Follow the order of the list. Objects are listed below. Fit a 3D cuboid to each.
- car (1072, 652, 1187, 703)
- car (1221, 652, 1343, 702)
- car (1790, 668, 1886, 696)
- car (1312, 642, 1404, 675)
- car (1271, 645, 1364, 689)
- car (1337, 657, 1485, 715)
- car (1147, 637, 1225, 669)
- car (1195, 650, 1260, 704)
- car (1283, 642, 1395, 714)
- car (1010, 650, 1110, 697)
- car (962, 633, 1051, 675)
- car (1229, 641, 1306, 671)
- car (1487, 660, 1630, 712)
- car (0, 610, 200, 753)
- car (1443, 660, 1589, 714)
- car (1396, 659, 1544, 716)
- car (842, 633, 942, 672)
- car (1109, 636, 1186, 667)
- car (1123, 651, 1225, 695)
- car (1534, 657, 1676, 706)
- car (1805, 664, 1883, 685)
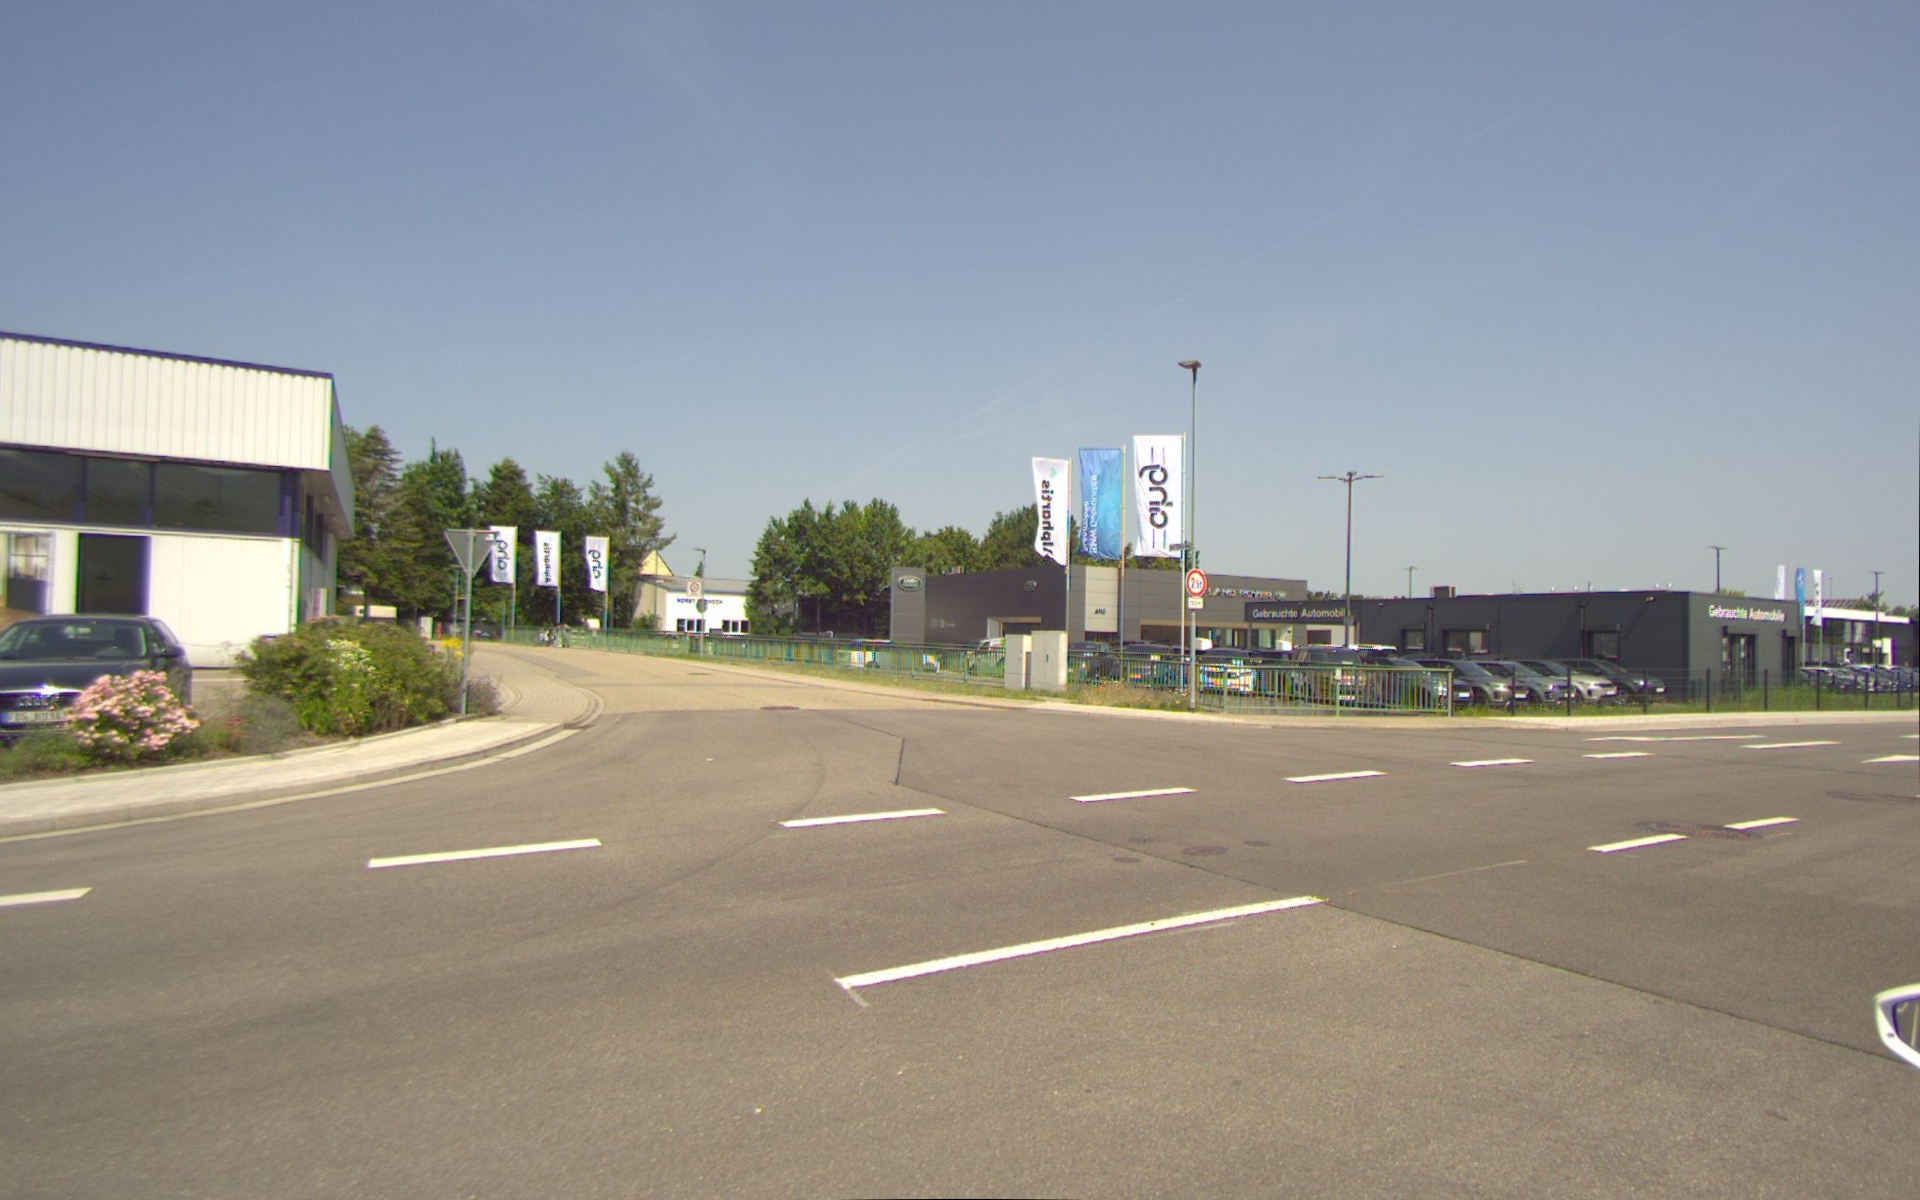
[{"bbox_3d":[5.975,2.704,35.811,1.955,1.686,3.967,2,-3,-31],"label":"car"},{"bbox_3d":[11.739,2.774,36.832,1.955,1.686,3.967,2,-3,-31],"label":"car"},{"bbox_3d":[52.333,4.851,59.961,1.795,1.514,3.967,2,-3,-31],"label":"car"},{"bbox_3d":[18.694,2.739,47.283,1.667,1.439,3.817,2,-2,-31],"label":"car"},{"bbox_3d":[16.182,2.987,45.641,1.667,1.852,3.817,2,-2,-31],"label":"car"},{"bbox_3d":[14.297,2.672,32.017,1.865,1.653,3.967,2,-3,-31],"label":"car"},{"bbox_3d":[10.997,2.570,49.134,1.667,1.439,3.665,2,-2,-31],"label":"car"},{"bbox_3d":[8.830,2.510,33.438,1.888,1.582,4.512,1,-2,13],"label":"car"},{"bbox_3d":[11.262,2.256,30.201,2.024,1.889,4.683,2,-2,7],"label":"car"},{"bbox_3d":[3.903,2.851,39.606,1.955,1.686,3.967,2,-3,-31],"label":"car"},{"bbox_3d":[2.044,2.400,45.261,1.945,1.757,4.281,2,-2,-31],"label":"car"},{"bbox_3d":[15.904,2.884,52.069,1.667,1.439,3.665,2,-2,-31],"label":"car"},{"bbox_3d":[21.305,3.018,35.921,1.944,1.653,3.970,2,-3,-29],"label":"car"},{"bbox_3d":[-10.352,0.879,11.898,1.814,1.412,4.199,2,-3,-33],"label":"car"},{"bbox_3d":[19.025,2.945,34.539,1.955,1.653,3.967,2,-3,-31],"label":"car"},{"bbox_3d":[16.769,2.831,33.200,1.955,1.653,3.967,2,-3,-31],"label":"car"},{"bbox_3d":[-3.192,2.453,47.164,4.259,1.757,1.956,1,-2,-25],"label":"car"},{"bbox_3d":[9.099,2.482,48.949,1.667,1.464,3.665,2,-2,-31],"label":"car"},{"bbox_3d":[8.805,2.958,41.594,1.955,1.686,3.967,2,-3,-31],"label":"car"},{"bbox_3d":[23.979,2.994,37.488,1.803,1.653,4.126,2,-3,-32],"label":"car"},{"bbox_3d":[68.341,5.736,77.728,1.794,1.485,4.146,2,-3,-29],"label":"car"}]
